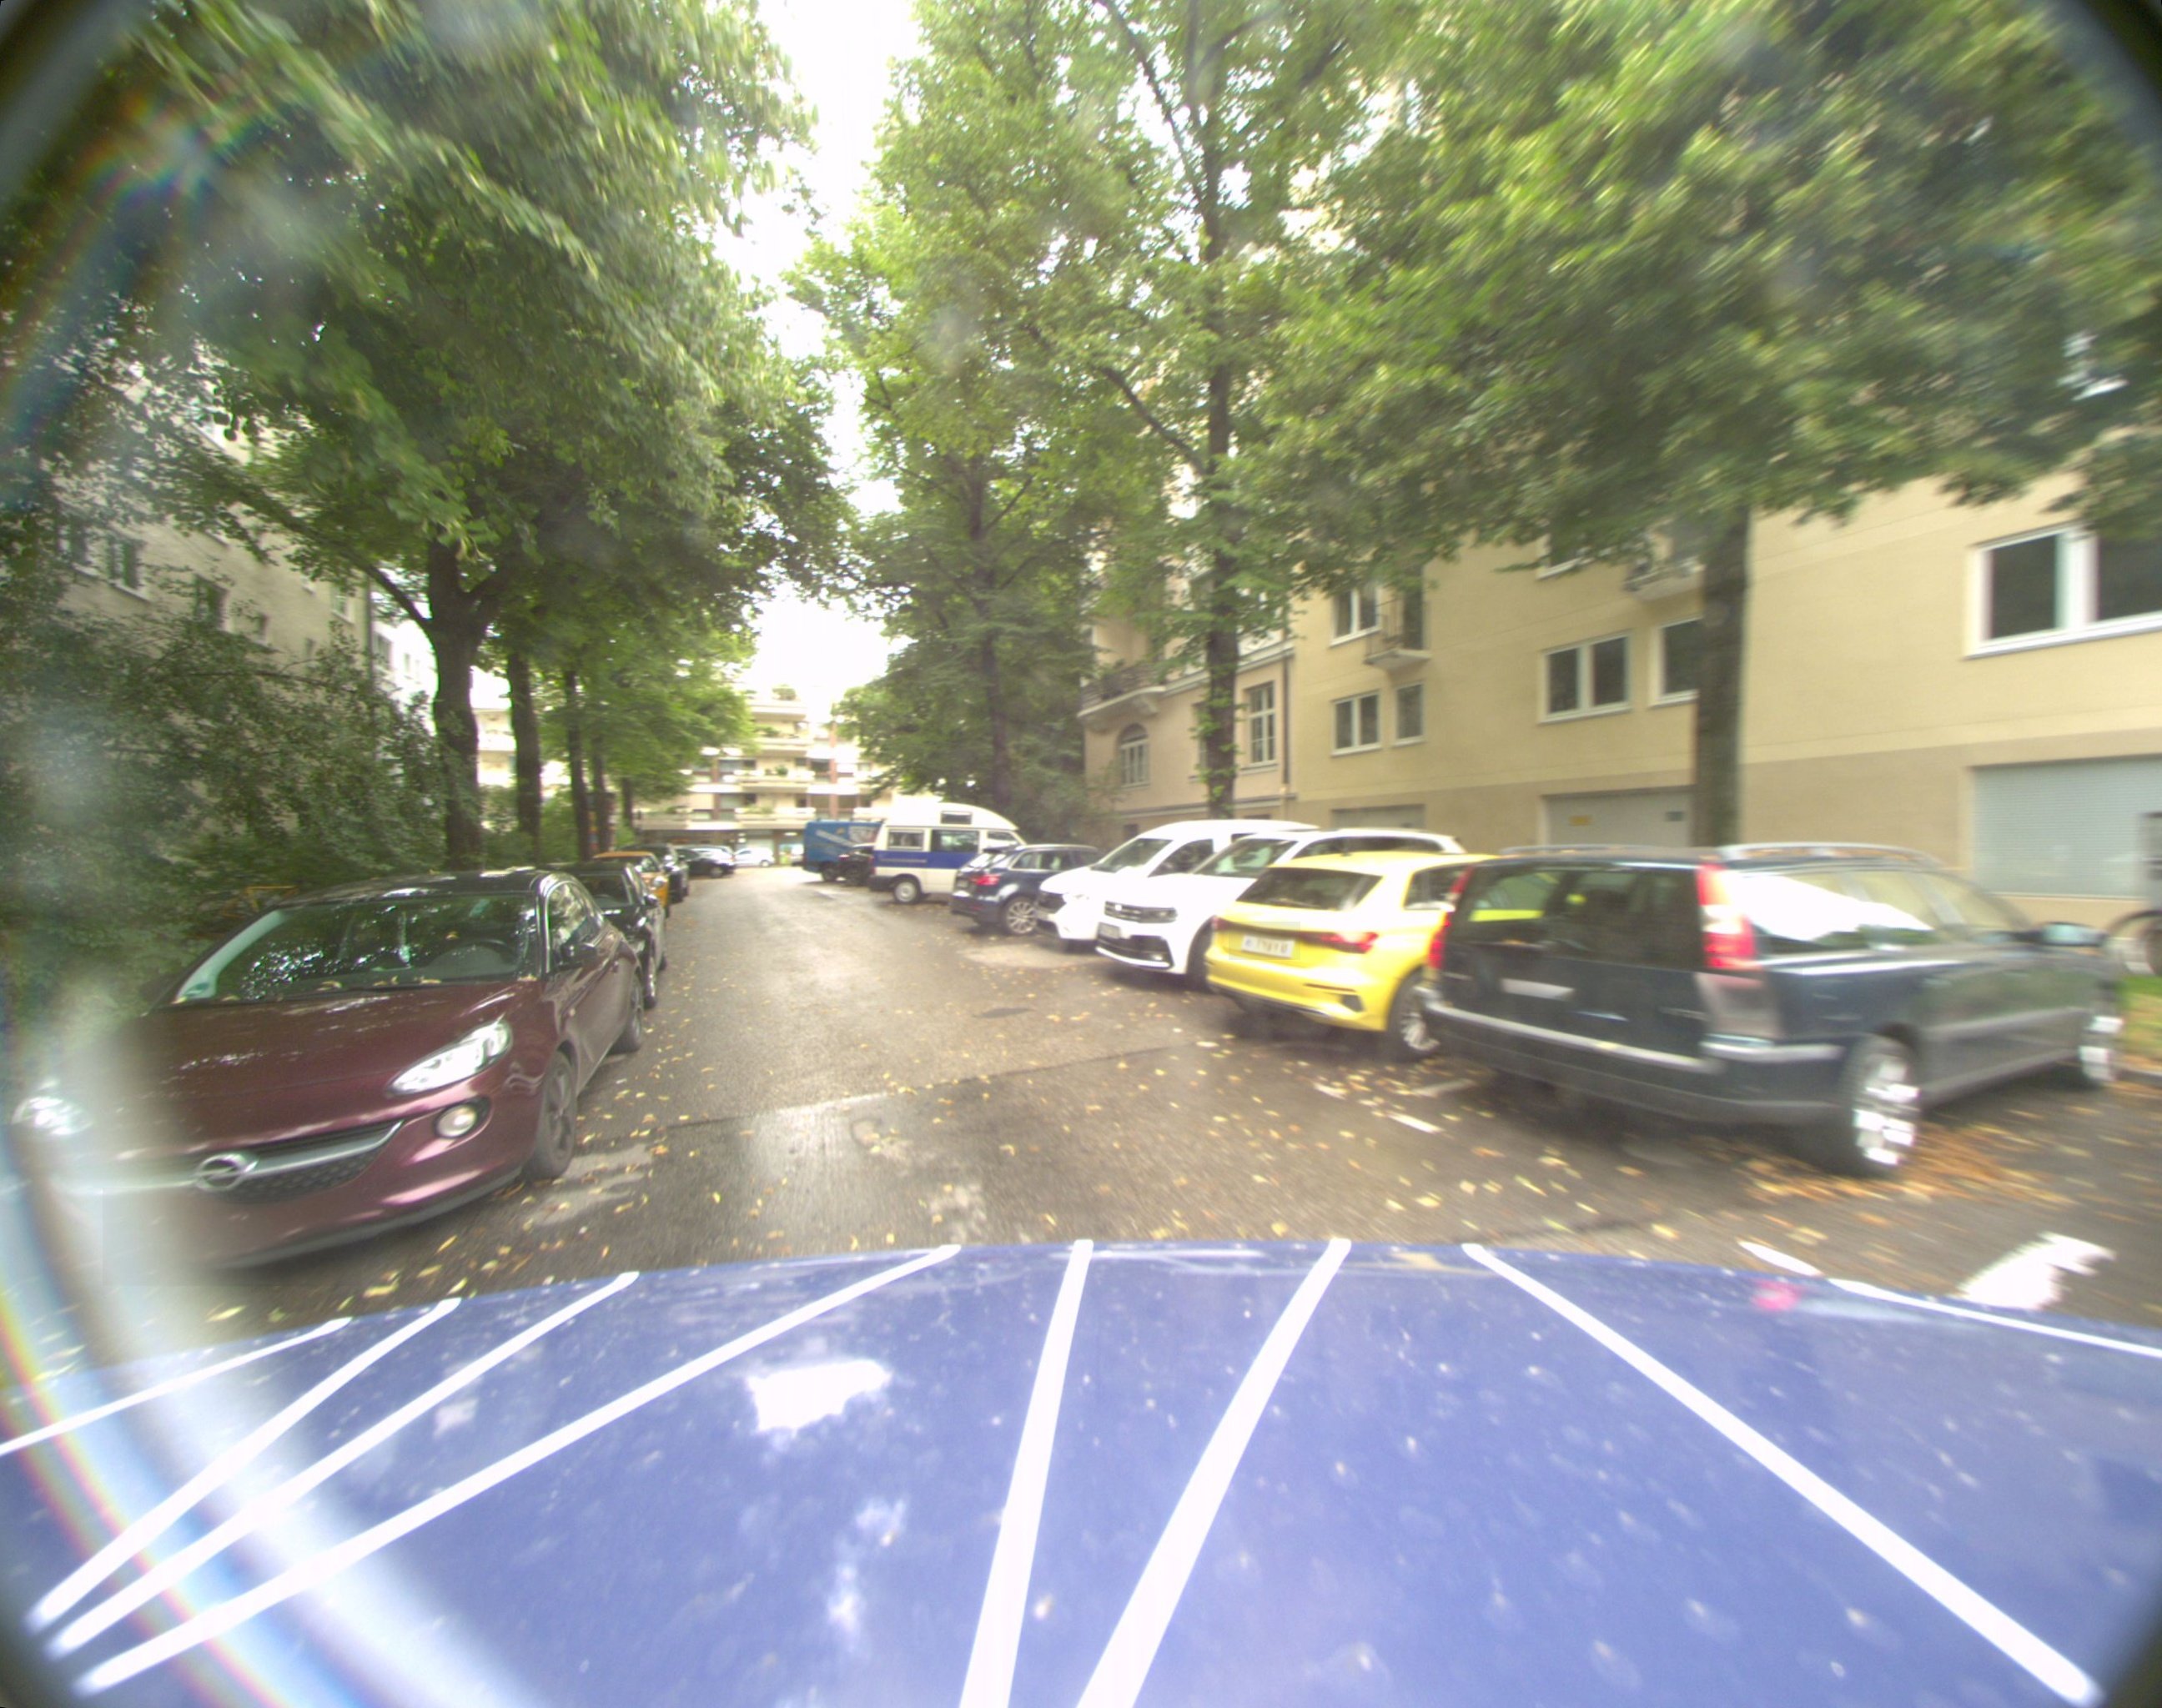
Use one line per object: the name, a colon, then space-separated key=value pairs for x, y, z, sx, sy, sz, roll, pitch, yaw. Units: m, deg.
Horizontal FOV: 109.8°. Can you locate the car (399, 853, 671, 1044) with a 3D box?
car: x=-5.619 y=0.768 z=8.373 sx=1.736 sy=1.488 sz=4.037 roll=-2 pitch=1 yaw=-26

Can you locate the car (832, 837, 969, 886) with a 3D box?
car: x=-6.149 y=0.241 z=26.076 sx=4.102 sy=1.594 sz=1.905 roll=-1 pitch=1 yaw=11

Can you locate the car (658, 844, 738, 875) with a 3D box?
car: x=-20.271 y=0.257 z=40.239 sx=3.696 sy=1.470 sz=1.851 roll=-2 pitch=1 yaw=-29

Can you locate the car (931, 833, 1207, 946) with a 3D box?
car: x=-0.191 y=0.485 z=12.909 sx=4.251 sy=1.590 sz=1.914 roll=-2 pitch=1 yaw=-26

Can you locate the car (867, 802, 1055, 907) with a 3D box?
car: x=-2.749 y=-0.012 z=18.213 sx=4.178 sy=2.300 sz=1.903 roll=-1 pitch=1 yaw=-2

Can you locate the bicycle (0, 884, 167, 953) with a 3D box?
bicycle: x=-15.228 y=0.960 z=11.435 sx=1.762 sy=0.908 sz=0.532 roll=-2 pitch=2 yaw=-34

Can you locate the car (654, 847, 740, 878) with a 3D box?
car: x=-19.238 y=0.386 z=38.107 sx=3.696 sy=1.385 sz=1.851 roll=-2 pitch=1 yaw=-29

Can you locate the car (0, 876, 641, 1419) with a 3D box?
car: x=-3.707 y=0.959 z=4.144 sx=1.735 sy=1.488 sz=3.701 roll=-2 pitch=1 yaw=-22

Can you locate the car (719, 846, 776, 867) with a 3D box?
car: x=-23.929 y=0.164 z=54.573 sx=3.695 sy=1.348 sz=1.851 roll=-2 pitch=1 yaw=-24

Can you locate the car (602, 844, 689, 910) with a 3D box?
car: x=-11.947 y=0.551 z=21.070 sx=1.700 sy=1.589 sz=4.099 roll=-2 pitch=1 yaw=-25

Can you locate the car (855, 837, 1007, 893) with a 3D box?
car: x=-4.527 y=0.305 z=23.250 sx=4.102 sy=1.594 sz=1.905 roll=-1 pitch=1 yaw=12

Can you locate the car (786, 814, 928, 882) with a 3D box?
car: x=-8.466 y=-0.225 z=28.911 sx=4.684 sy=2.398 sz=1.980 roll=-1 pitch=1 yaw=9

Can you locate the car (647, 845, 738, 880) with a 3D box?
car: x=-18.172 y=0.368 z=35.599 sx=3.696 sy=1.470 sz=1.851 roll=-2 pitch=1 yaw=-29

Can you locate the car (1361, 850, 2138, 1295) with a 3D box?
car: x=4.011 y=0.754 z=4.528 sx=4.251 sy=1.459 sz=2.050 roll=-2 pitch=1 yaw=-27

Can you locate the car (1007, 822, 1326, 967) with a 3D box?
car: x=1.272 y=0.453 z=11.082 sx=4.251 sy=1.741 sz=1.914 roll=-2 pitch=1 yaw=-26

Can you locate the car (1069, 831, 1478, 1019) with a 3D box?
car: x=2.205 y=0.594 z=8.547 sx=4.251 sy=1.611 sz=1.914 roll=-2 pitch=1 yaw=-27

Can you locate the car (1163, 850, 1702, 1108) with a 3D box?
car: x=3.018 y=0.750 z=6.415 sx=4.251 sy=1.459 sz=1.914 roll=-2 pitch=1 yaw=-27

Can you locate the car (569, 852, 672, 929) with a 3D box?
car: x=-10.037 y=0.704 z=16.763 sx=1.700 sy=1.430 sz=3.768 roll=-2 pitch=1 yaw=-29
